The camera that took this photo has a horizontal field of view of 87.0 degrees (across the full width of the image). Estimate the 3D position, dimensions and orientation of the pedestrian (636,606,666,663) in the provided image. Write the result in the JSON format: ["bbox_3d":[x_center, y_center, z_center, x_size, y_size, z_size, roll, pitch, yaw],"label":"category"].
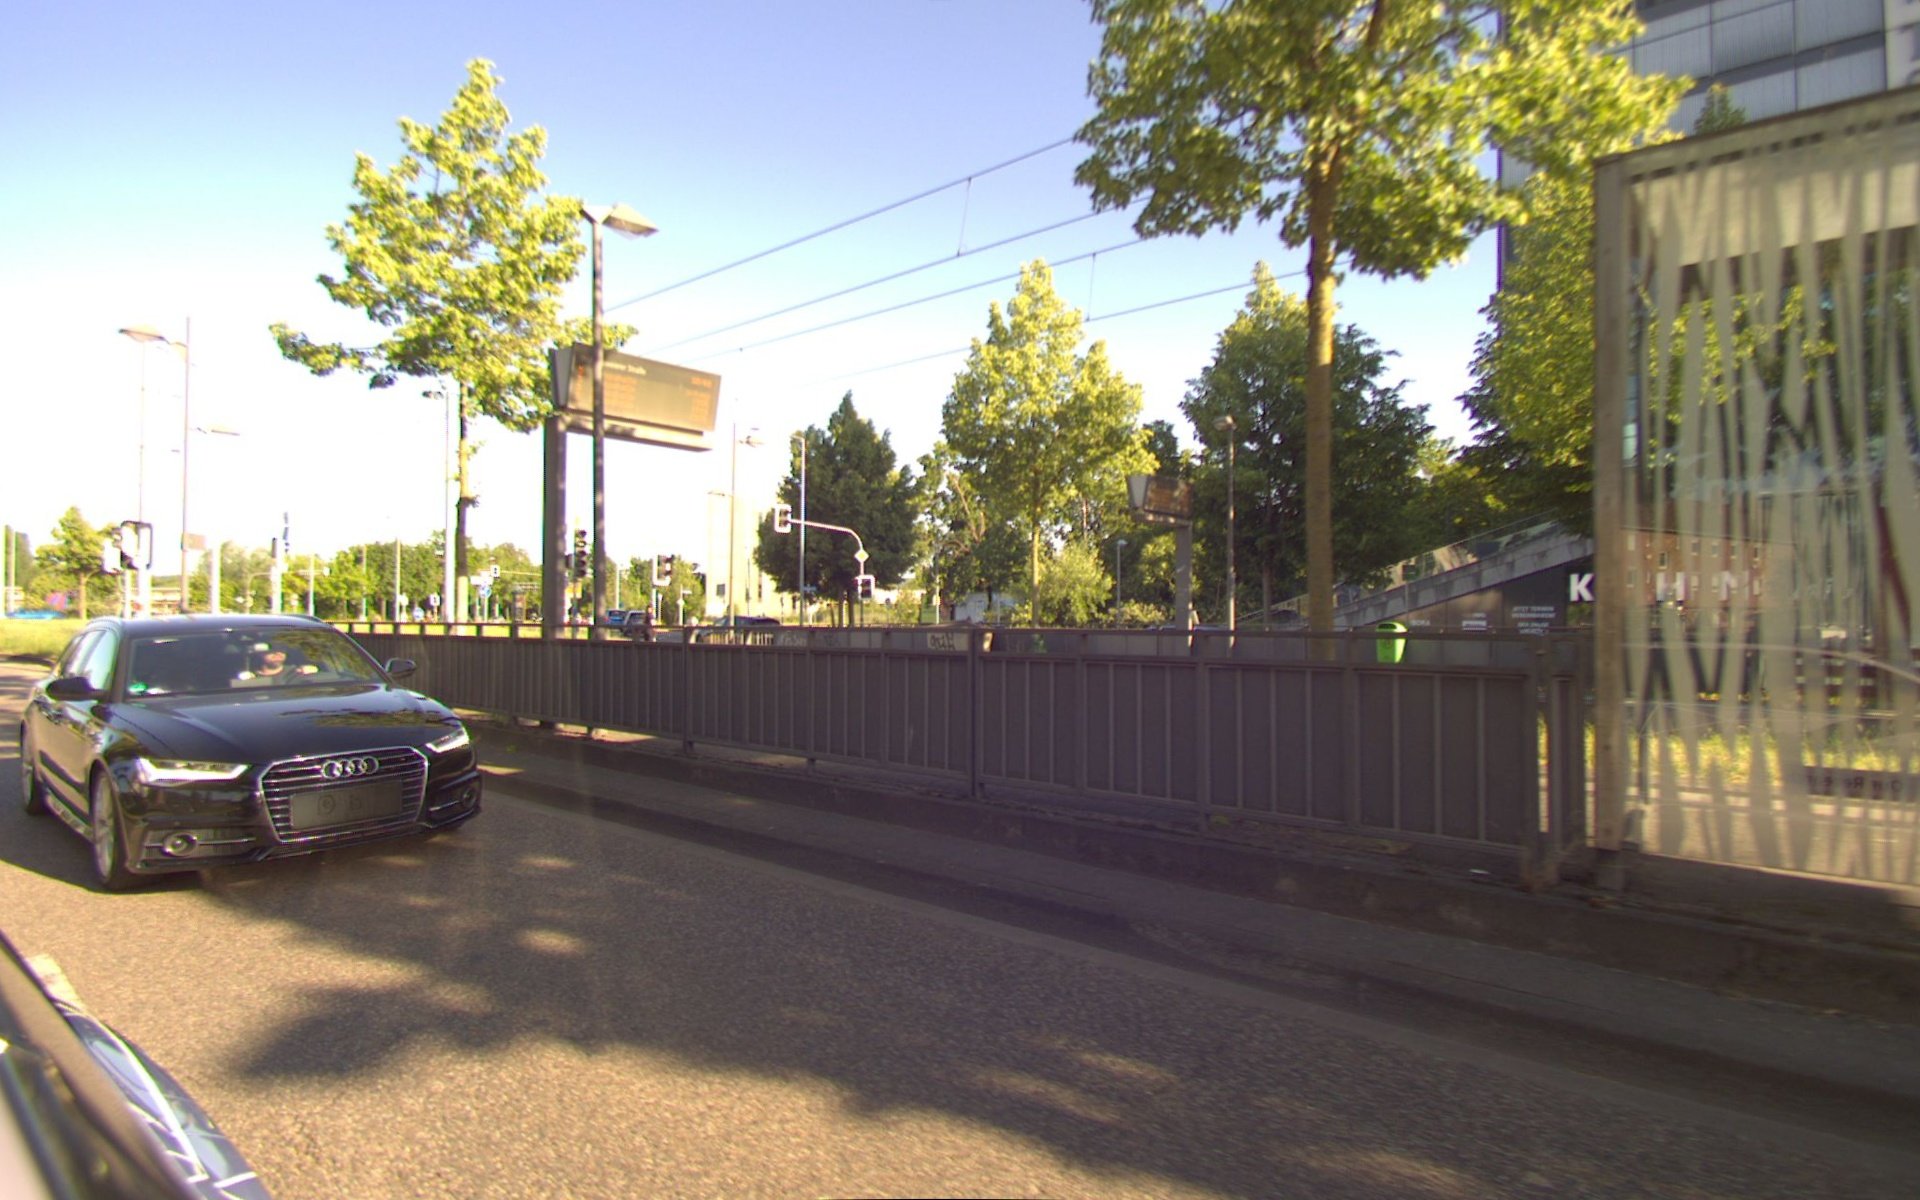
[{"bbox_3d":[-8.827,0.964,28.871,0.810,1.590,0.413,1,0,38],"label":"pedestrian"}]

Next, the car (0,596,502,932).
[{"bbox_3d":[-4.994,0.772,6.828,4.599,1.538,1.765,-1,-1,42],"label":"car"}]

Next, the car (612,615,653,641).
[{"bbox_3d":[-18.256,1.570,56.529,1.638,1.406,3.619,0,-1,-9],"label":"car"}]

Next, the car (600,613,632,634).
[{"bbox_3d":[-23.196,1.592,68.314,1.637,1.274,3.631,1,0,-13],"label":"car"}]

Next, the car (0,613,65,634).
[{"bbox_3d":[-67.061,1.641,72.574,1.798,1.439,3.965,1,0,34],"label":"car"}]
